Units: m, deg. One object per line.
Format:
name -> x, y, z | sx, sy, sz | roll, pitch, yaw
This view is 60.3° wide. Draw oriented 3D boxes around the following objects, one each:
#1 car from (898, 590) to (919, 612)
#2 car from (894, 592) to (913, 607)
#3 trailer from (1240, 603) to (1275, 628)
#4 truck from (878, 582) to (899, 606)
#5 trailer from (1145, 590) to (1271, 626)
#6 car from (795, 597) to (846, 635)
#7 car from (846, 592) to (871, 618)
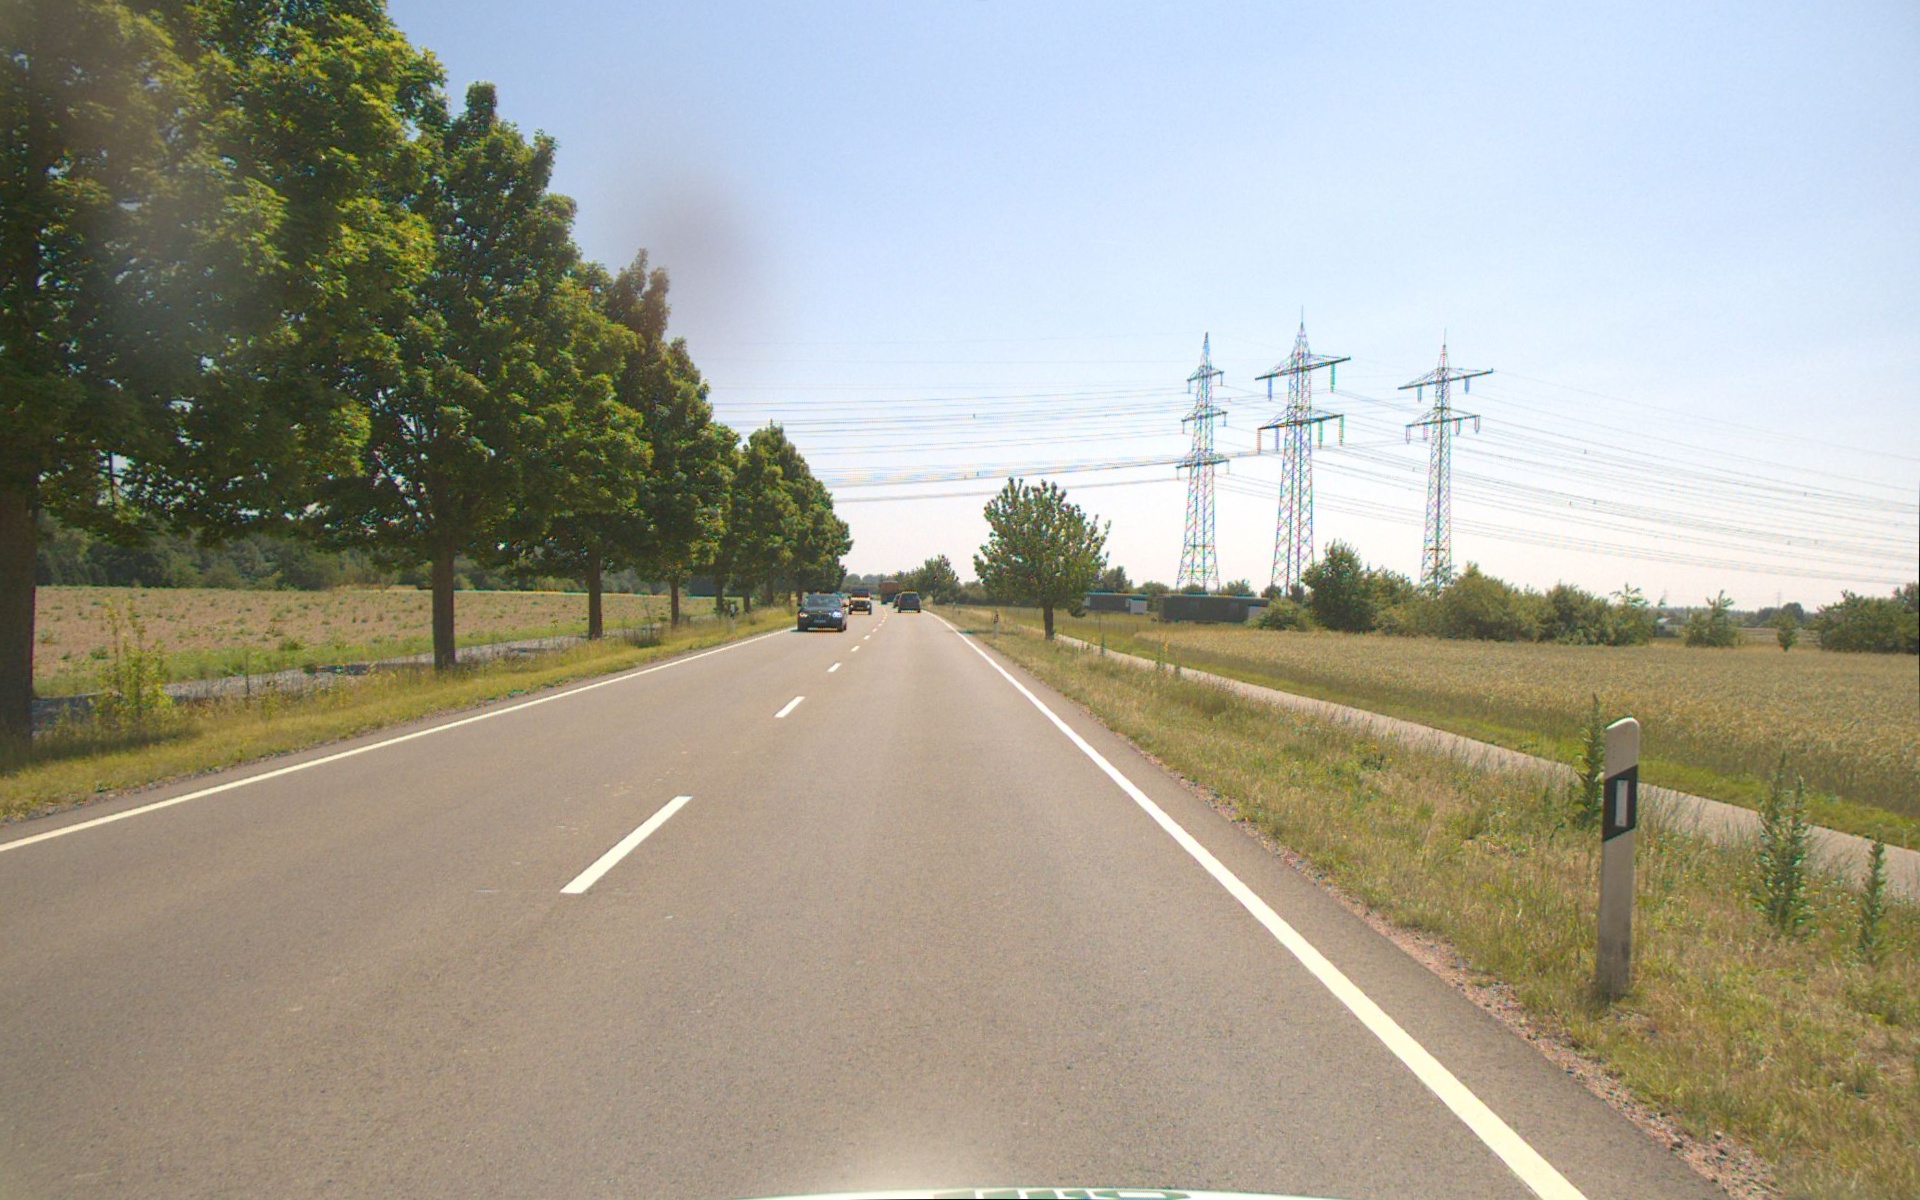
car -> -4.243, 0.099, 136.402 | 1.680, 1.723, 3.986 | 1, 0, -3
car -> -5.938, -0.061, 174.512 | 1.814, 1.549, 3.996 | 1, 0, -5
trailer -> 32.271, 1.691, 179.387 | 3.340, 2.505, 2.036 | 2, 0, -5
truck -> -9.862, -0.772, 227.681 | 2.325, 3.195, 8.737 | 1, 0, -6
trailer -> 27.163, 0.875, 181.782 | 13.245, 3.535, 3.273 | 2, 0, -5
car -> -5.589, 0.627, 66.646 | 1.785, 1.445, 4.587 | 1, 0, -2
car -> -7.379, 0.346, 120.463 | 1.647, 1.881, 3.998 | 1, 0, -2
